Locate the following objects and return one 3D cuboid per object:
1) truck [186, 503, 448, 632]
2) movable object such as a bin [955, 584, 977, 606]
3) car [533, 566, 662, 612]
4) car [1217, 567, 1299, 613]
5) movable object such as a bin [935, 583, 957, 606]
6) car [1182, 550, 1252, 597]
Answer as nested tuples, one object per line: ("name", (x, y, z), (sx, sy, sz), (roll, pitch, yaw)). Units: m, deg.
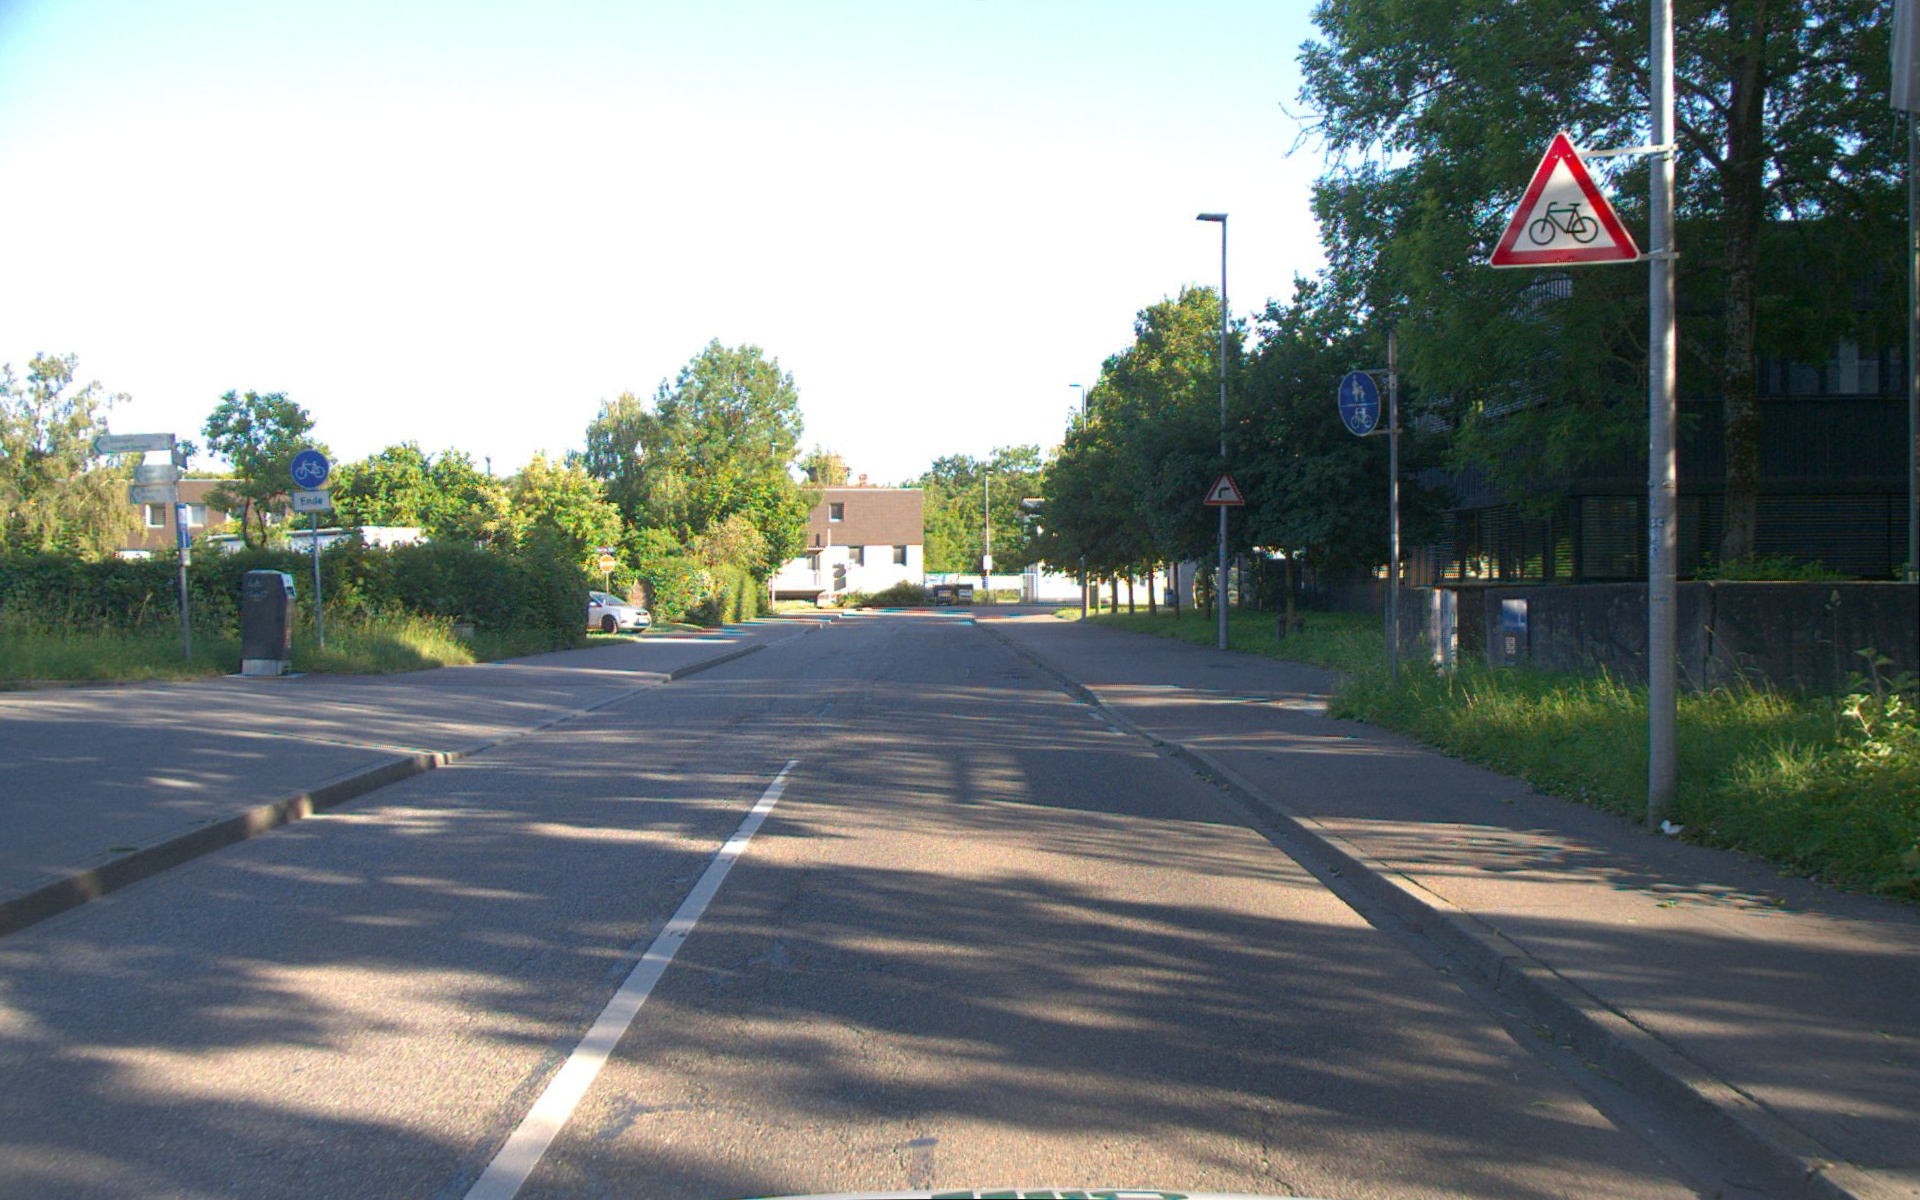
("truck", (-21.110, -0.929, 54.122), (9.125, 3.951, 2.707), (-1, -1, 28))
("movable object such as a bin", (0.405, -0.324, 109.920), (1.339, 1.443, 1.063), (1, -1, -8))
("car", (-12.715, -0.384, 57.962), (4.127, 1.516, 1.875), (1, -1, 25))
("car", (10.284, -0.330, 57.319), (1.799, 1.492, 4.275), (1, 0, -4))
("movable object such as a bin", (-0.943, -0.354, 109.670), (1.339, 1.443, 1.063), (1, -1, -8))
("car", (10.808, -1.076, 69.906), (1.800, 1.846, 4.660), (1, 0, -6))
